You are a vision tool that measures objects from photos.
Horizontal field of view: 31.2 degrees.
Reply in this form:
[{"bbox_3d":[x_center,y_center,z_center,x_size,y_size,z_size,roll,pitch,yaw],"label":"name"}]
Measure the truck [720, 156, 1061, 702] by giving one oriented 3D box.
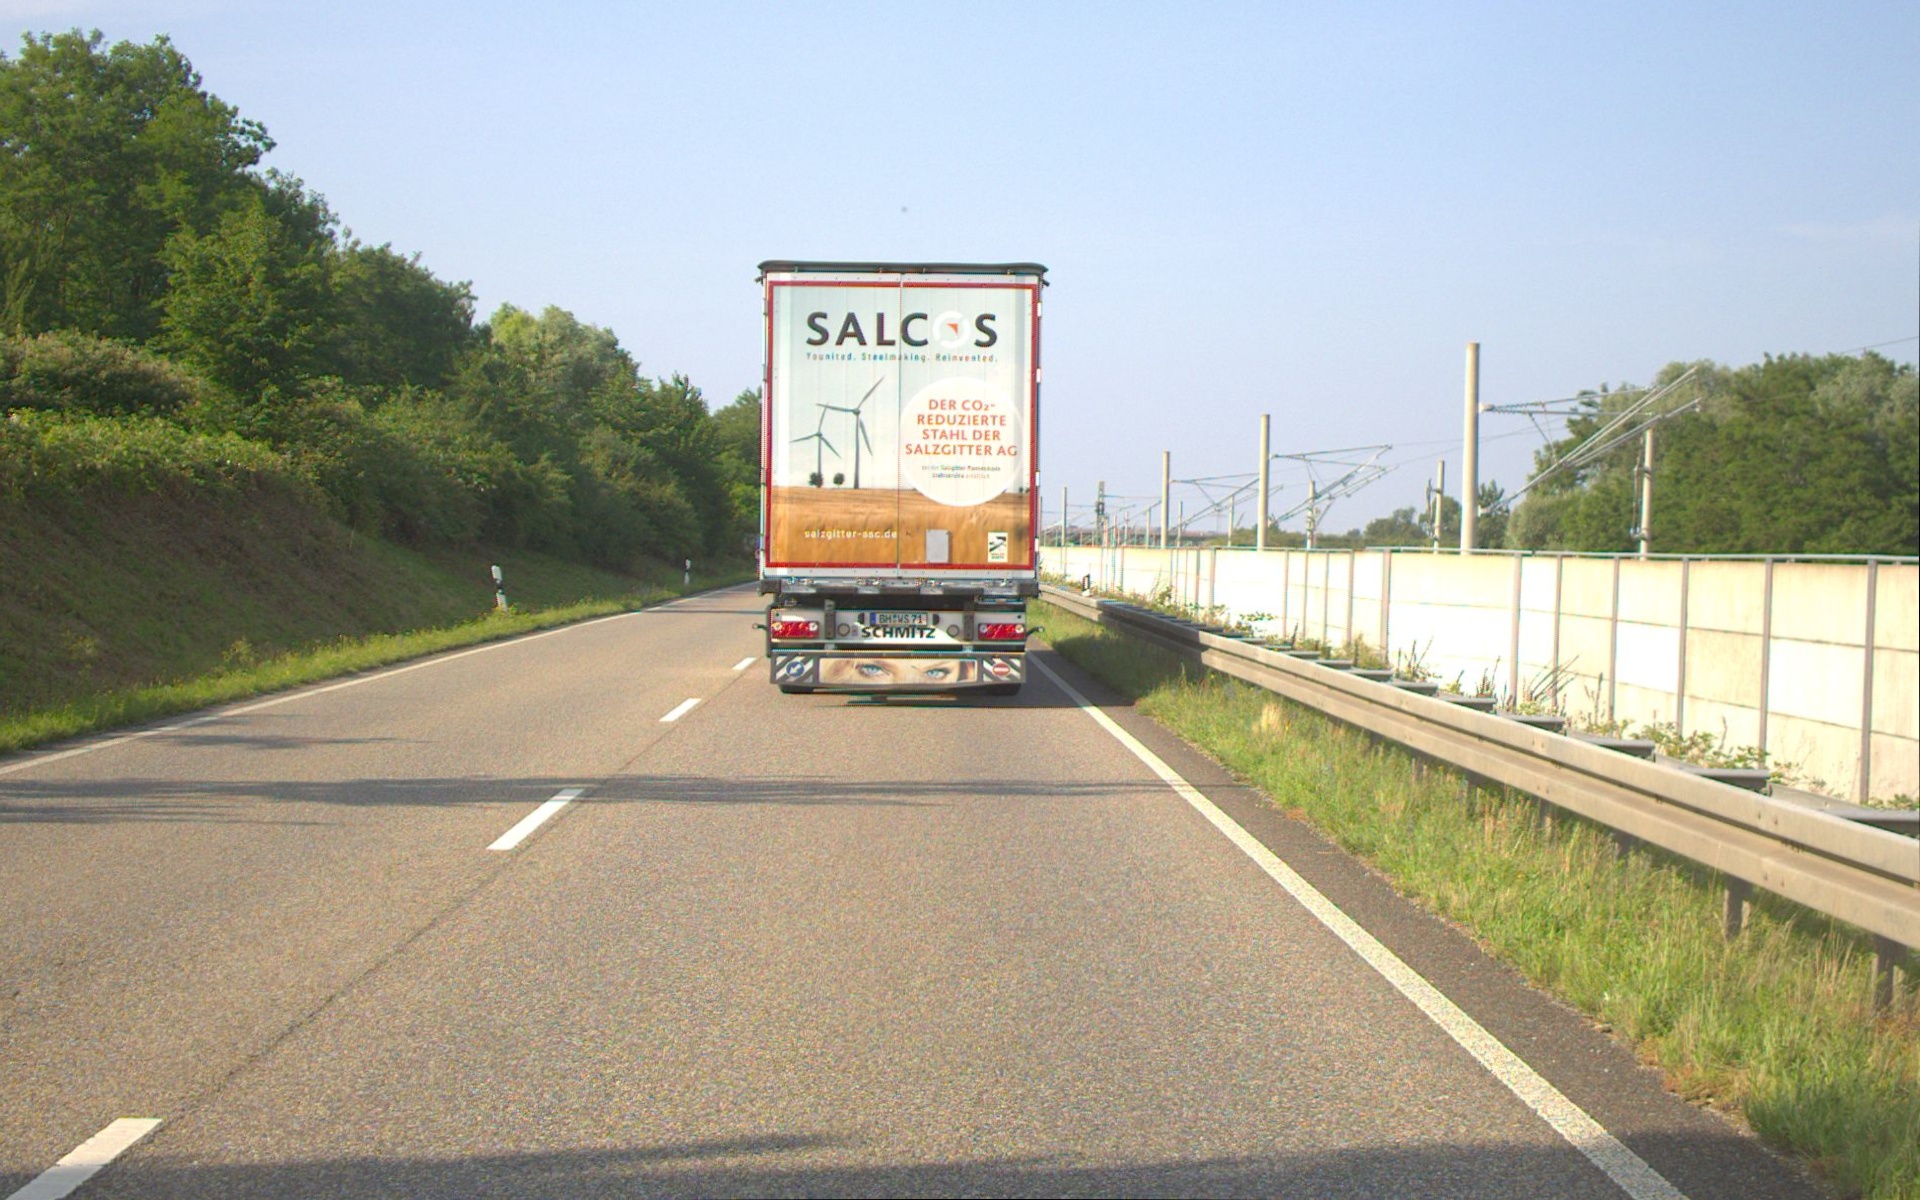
[{"bbox_3d":[-0.832,-1.652,36.947,3.033,4.903,11.685,1,1,-2],"label":"truck"}]
